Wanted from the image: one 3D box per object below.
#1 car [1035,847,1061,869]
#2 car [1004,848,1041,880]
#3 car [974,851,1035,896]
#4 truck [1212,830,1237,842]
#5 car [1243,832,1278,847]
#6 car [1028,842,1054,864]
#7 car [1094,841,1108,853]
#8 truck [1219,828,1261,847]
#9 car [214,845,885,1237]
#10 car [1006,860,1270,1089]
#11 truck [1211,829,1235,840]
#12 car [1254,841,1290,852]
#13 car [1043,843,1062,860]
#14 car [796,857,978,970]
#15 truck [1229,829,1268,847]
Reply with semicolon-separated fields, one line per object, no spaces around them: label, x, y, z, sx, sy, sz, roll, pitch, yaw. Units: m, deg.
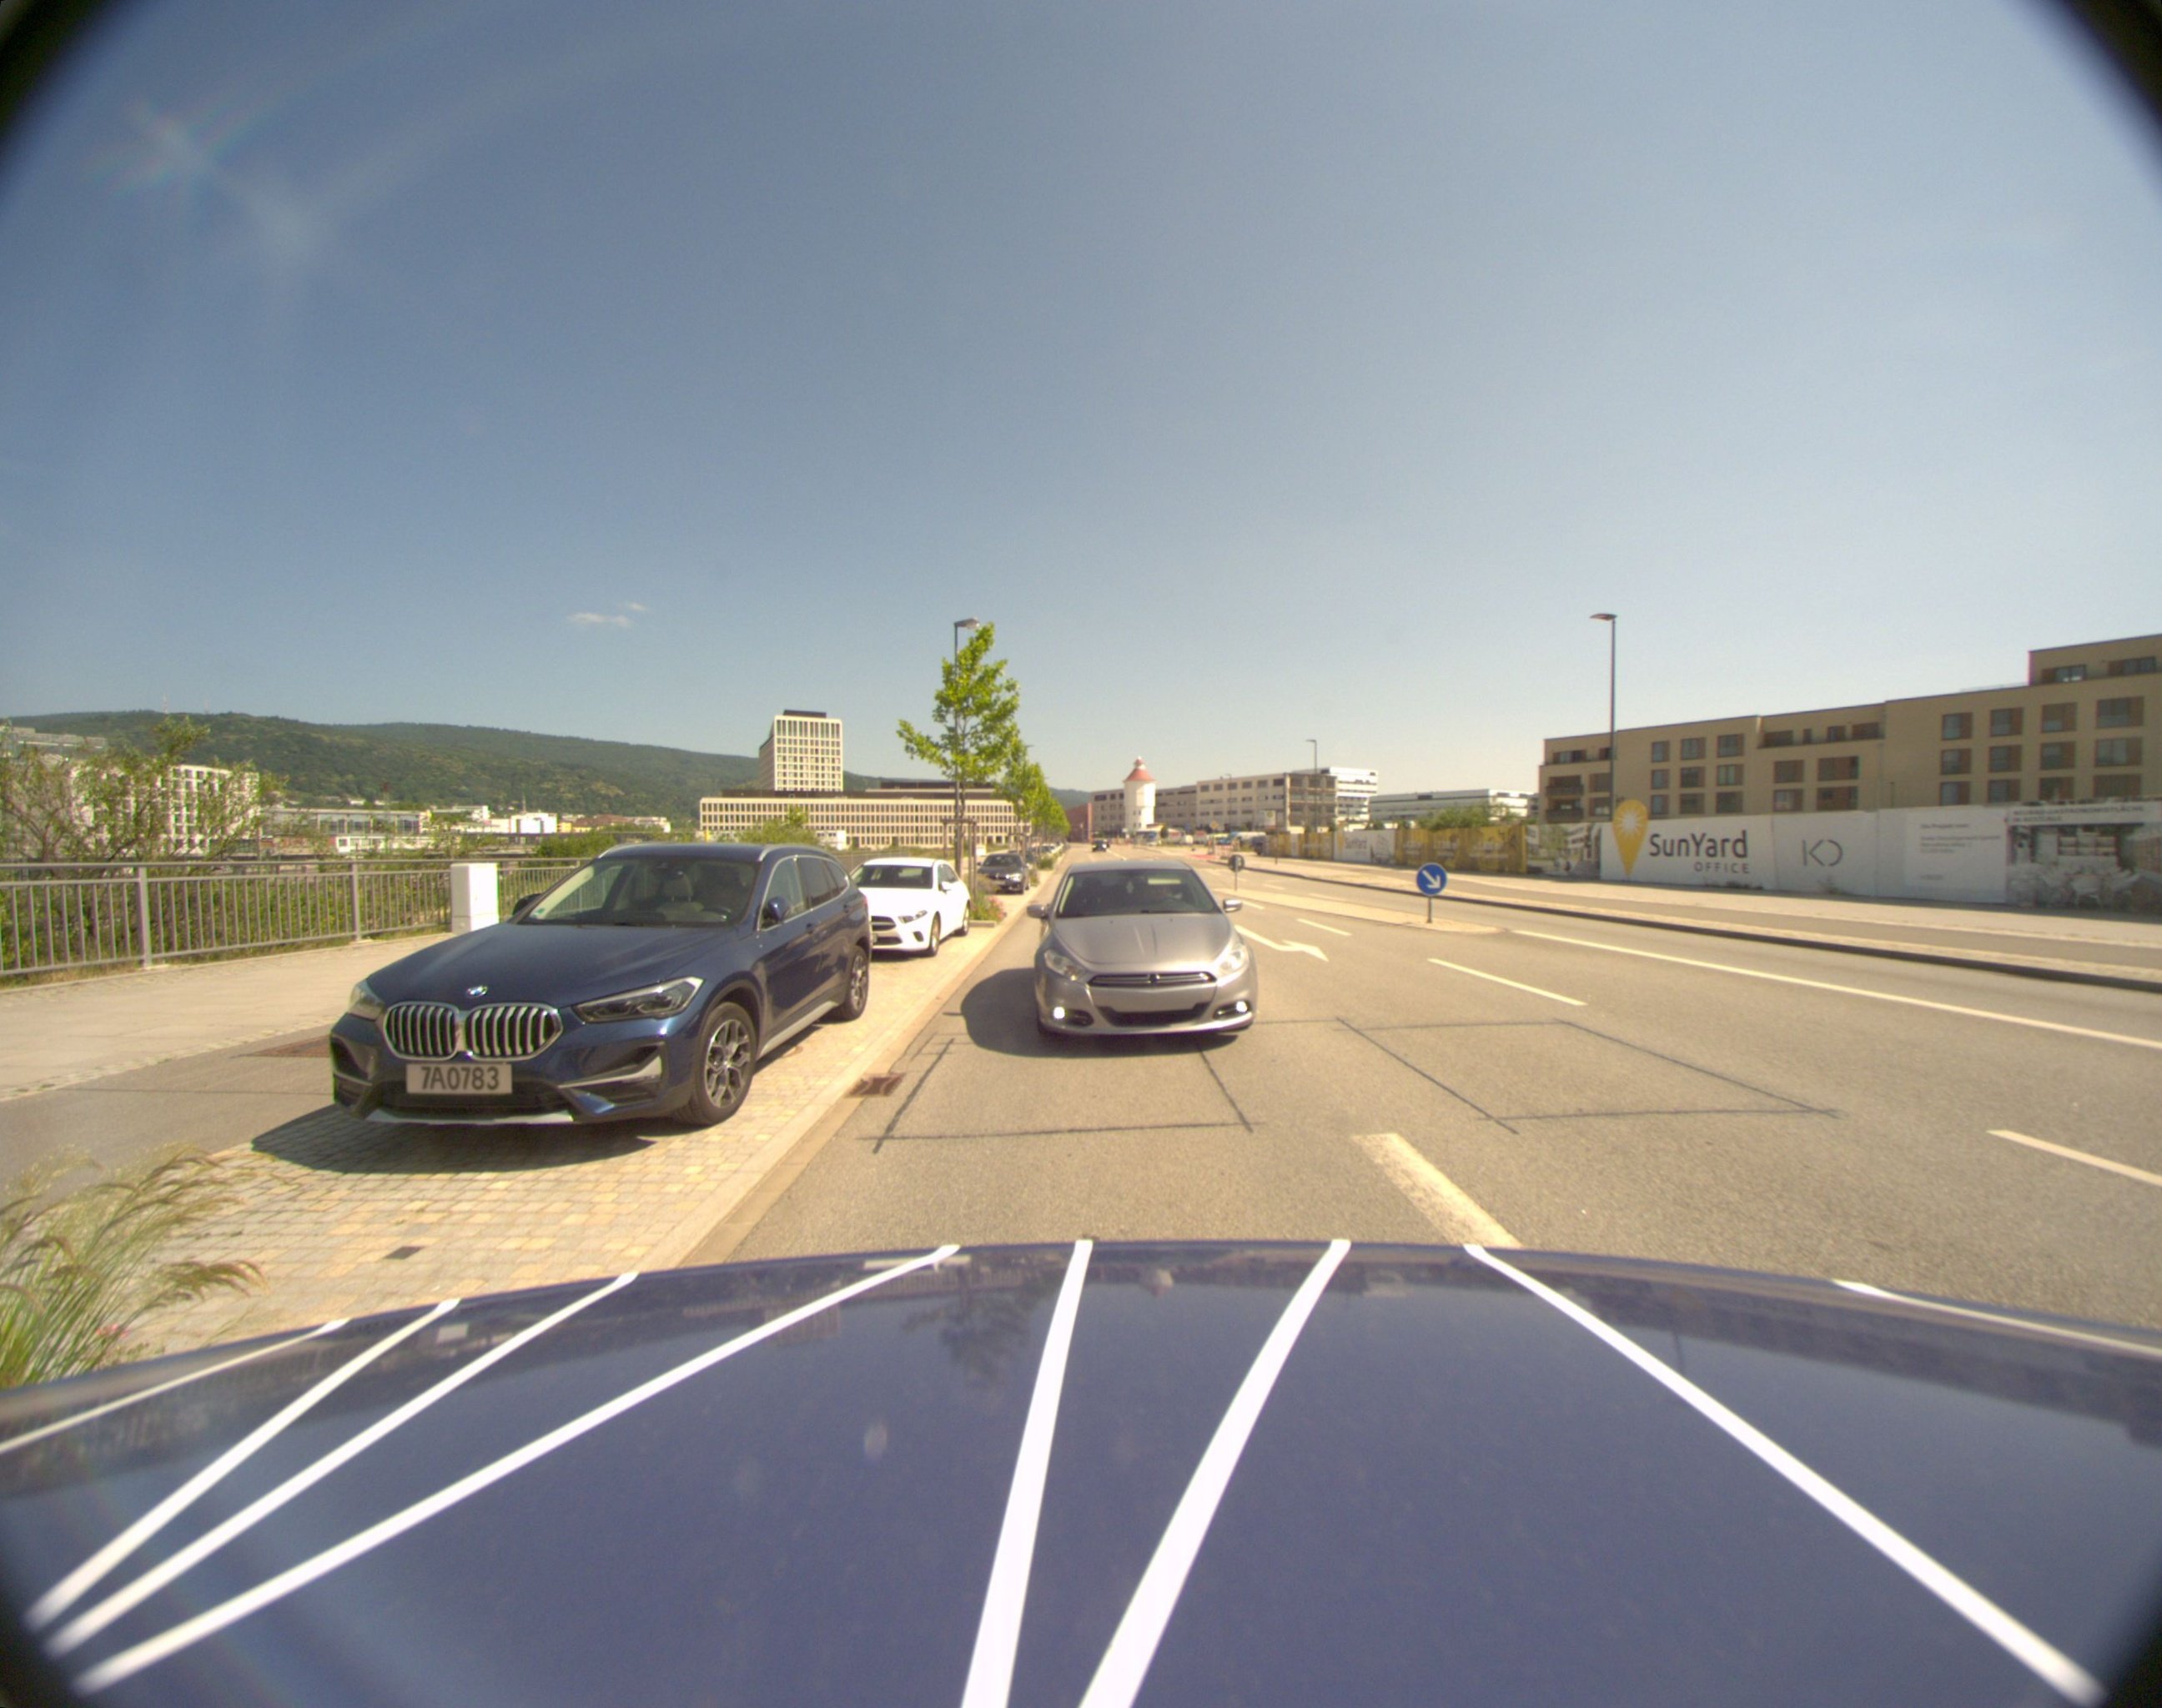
car;-2.171;0.233;50.546;1.490;1.302;3.154;2;1;0
car;-2.901;0.467;38.022;1.569;1.465;3.006;2;1;0
car;-2.718;0.641;27.819;1.808;1.424;3.915;2;1;0
truck;33.370;-4.175;177.320;5.333;2.461;1.999;-3;1;-4
car;22.832;-1.863;96.569;3.930;1.708;1.891;-3;1;-5
car;-3.199;-0.132;61.033;1.768;1.609;3.373;-3;1;0
car;2.687;-0.963;101.983;1.819;1.458;4.347;-3;1;2
truck;23.678;-2.453;113.299;5.633;2.461;1.999;-3;1;-4
car;-2.879;0.804;5.473;1.808;1.674;4.270;1;1;0
car;0.438;0.873;7.538;1.820;1.459;4.346;-2;1;1
truck;34.582;-4.700;185.357;5.412;2.461;1.999;-2;1;-2
car;19.596;-0.746;78.092;3.359;0.947;1.293;-2;1;3
car;-2.634;-0.281;70.595;1.526;1.482;3.504;-3;1;0
car;-2.926;0.815;12.449;1.710;1.366;4.270;2;1;2
truck;23.338;-2.252;105.957;5.005;2.215;1.999;-2;1;-1
